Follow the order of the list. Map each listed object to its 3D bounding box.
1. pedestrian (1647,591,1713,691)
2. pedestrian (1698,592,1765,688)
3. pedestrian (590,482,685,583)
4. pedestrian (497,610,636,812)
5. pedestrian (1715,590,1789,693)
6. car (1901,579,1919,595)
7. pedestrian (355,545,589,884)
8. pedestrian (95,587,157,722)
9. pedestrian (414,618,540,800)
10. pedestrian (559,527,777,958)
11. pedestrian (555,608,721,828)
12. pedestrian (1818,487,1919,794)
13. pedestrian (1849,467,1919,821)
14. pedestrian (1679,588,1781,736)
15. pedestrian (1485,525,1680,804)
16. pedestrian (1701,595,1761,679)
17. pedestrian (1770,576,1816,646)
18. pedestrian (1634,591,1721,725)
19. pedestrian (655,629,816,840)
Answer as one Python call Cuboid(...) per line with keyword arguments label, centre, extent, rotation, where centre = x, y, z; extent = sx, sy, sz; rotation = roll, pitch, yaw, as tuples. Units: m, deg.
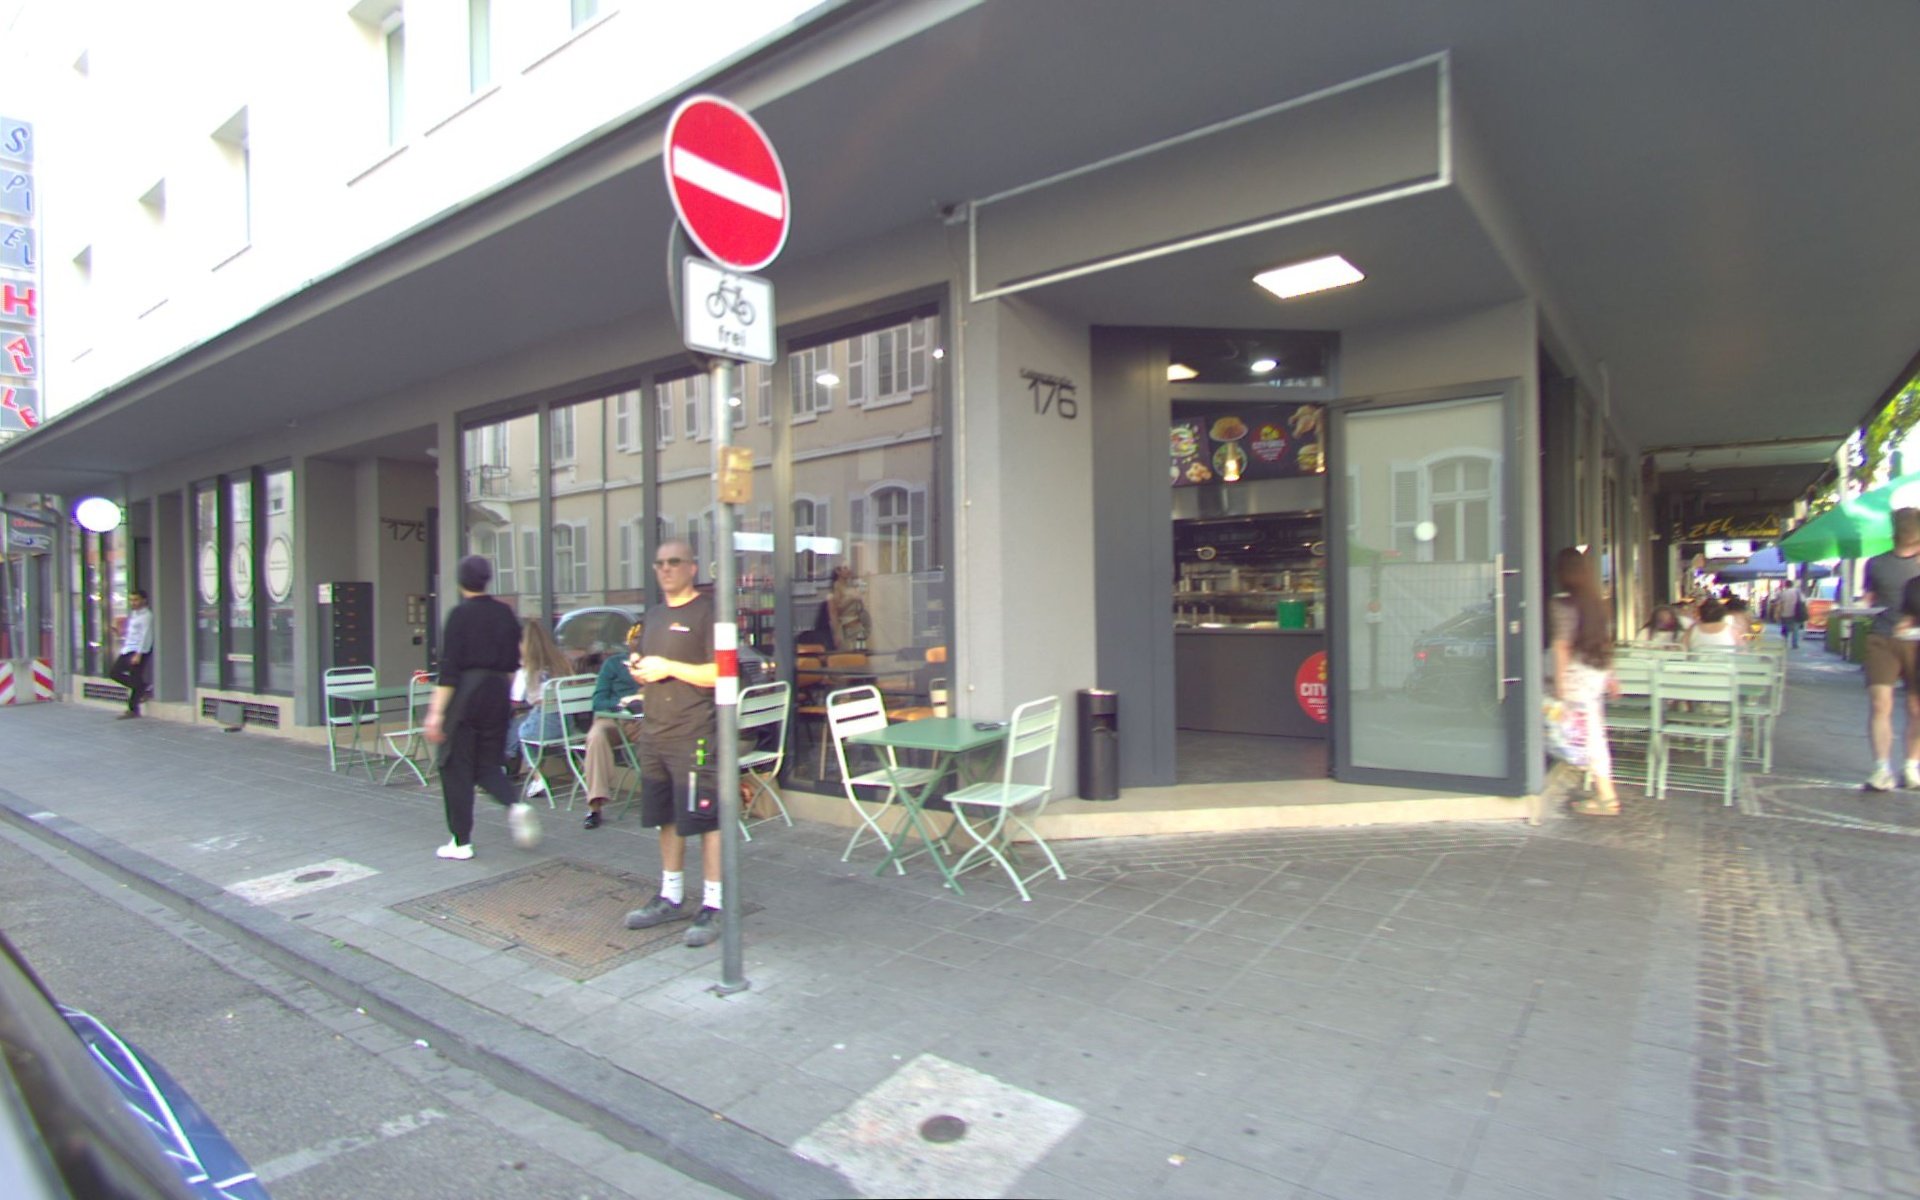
Cuboid(label="pedestrian", centre=(9.578, 0.535, 13.481), extent=(0.652, 1.269, 0.666), rotation=(-2, 0, 33))
Cuboid(label="pedestrian", centre=(10.631, 0.537, 13.962), extent=(0.652, 1.269, 0.666), rotation=(-2, 0, 33))
Cuboid(label="pedestrian", centre=(-7.601, -1.497, 24.170), extent=(1.966, 2.029, 4.011), rotation=(0, -2, -15))
Cuboid(label="pedestrian", centre=(-2.716, 0.733, 6.993), extent=(0.712, 1.285, 0.567), rotation=(-2, 1, 37))
Cuboid(label="pedestrian", centre=(10.170, 0.519, 13.016), extent=(0.652, 1.269, 0.666), rotation=(-2, 0, 33))
Cuboid(label="car", centre=(94.862, -1.310, 100.437), extent=(1.670, 1.554, 3.458), rotation=(-2, -1, 36))
Cuboid(label="pedestrian", centre=(-2.694, 0.564, 5.604), extent=(0.900, 1.680, 0.789), rotation=(-1, 1, 35))
Cuboid(label="pedestrian", centre=(-11.731, 0.755, 14.239), extent=(0.560, 1.848, 0.526), rotation=(-2, -2, 31))
Cuboid(label="pedestrian", centre=(-3.676, 0.796, 7.705), extent=(0.712, 1.285, 0.567), rotation=(-2, 1, 37))
Cuboid(label="pedestrian", centre=(-1.213, 0.562, 4.269), extent=(0.680, 1.680, 0.504), rotation=(-2, 1, 13))
Cuboid(label="pedestrian", centre=(-2.067, 0.715, 6.515), extent=(0.712, 1.285, 0.695), rotation=(-2, 1, 37))
Cuboid(label="pedestrian", centre=(6.438, 0.256, 6.681), extent=(1.028, 1.916, 1.056), rotation=(-2, -2, 35))
Cuboid(label="pedestrian", centre=(5.808, 0.237, 5.706), extent=(1.028, 1.916, 1.056), rotation=(-2, -2, 35))
Cuboid(label="pedestrian", centre=(7.007, 0.541, 9.238), extent=(0.652, 1.269, 0.666), rotation=(-2, 0, 33))
Cuboid(label="pedestrian", centre=(3.721, 0.371, 6.092), extent=(0.742, 1.584, 0.603), rotation=(0, -2, -7))
Cuboid(label="pedestrian", centre=(12.083, 0.572, 15.877), extent=(0.652, 1.269, 0.666), rotation=(-2, 0, 33))
Cuboid(label="pedestrian", centre=(19.924, 0.262, 24.228), extent=(0.708, 1.619, 0.871), rotation=(-2, -1, 33))
Cuboid(label="pedestrian", centre=(7.181, 0.562, 10.154), extent=(0.652, 1.269, 0.666), rotation=(-2, 0, 33))
Cuboid(label="pedestrian", centre=(-1.325, 0.751, 5.977), extent=(0.712, 1.122, 0.567), rotation=(-2, 1, 37))
